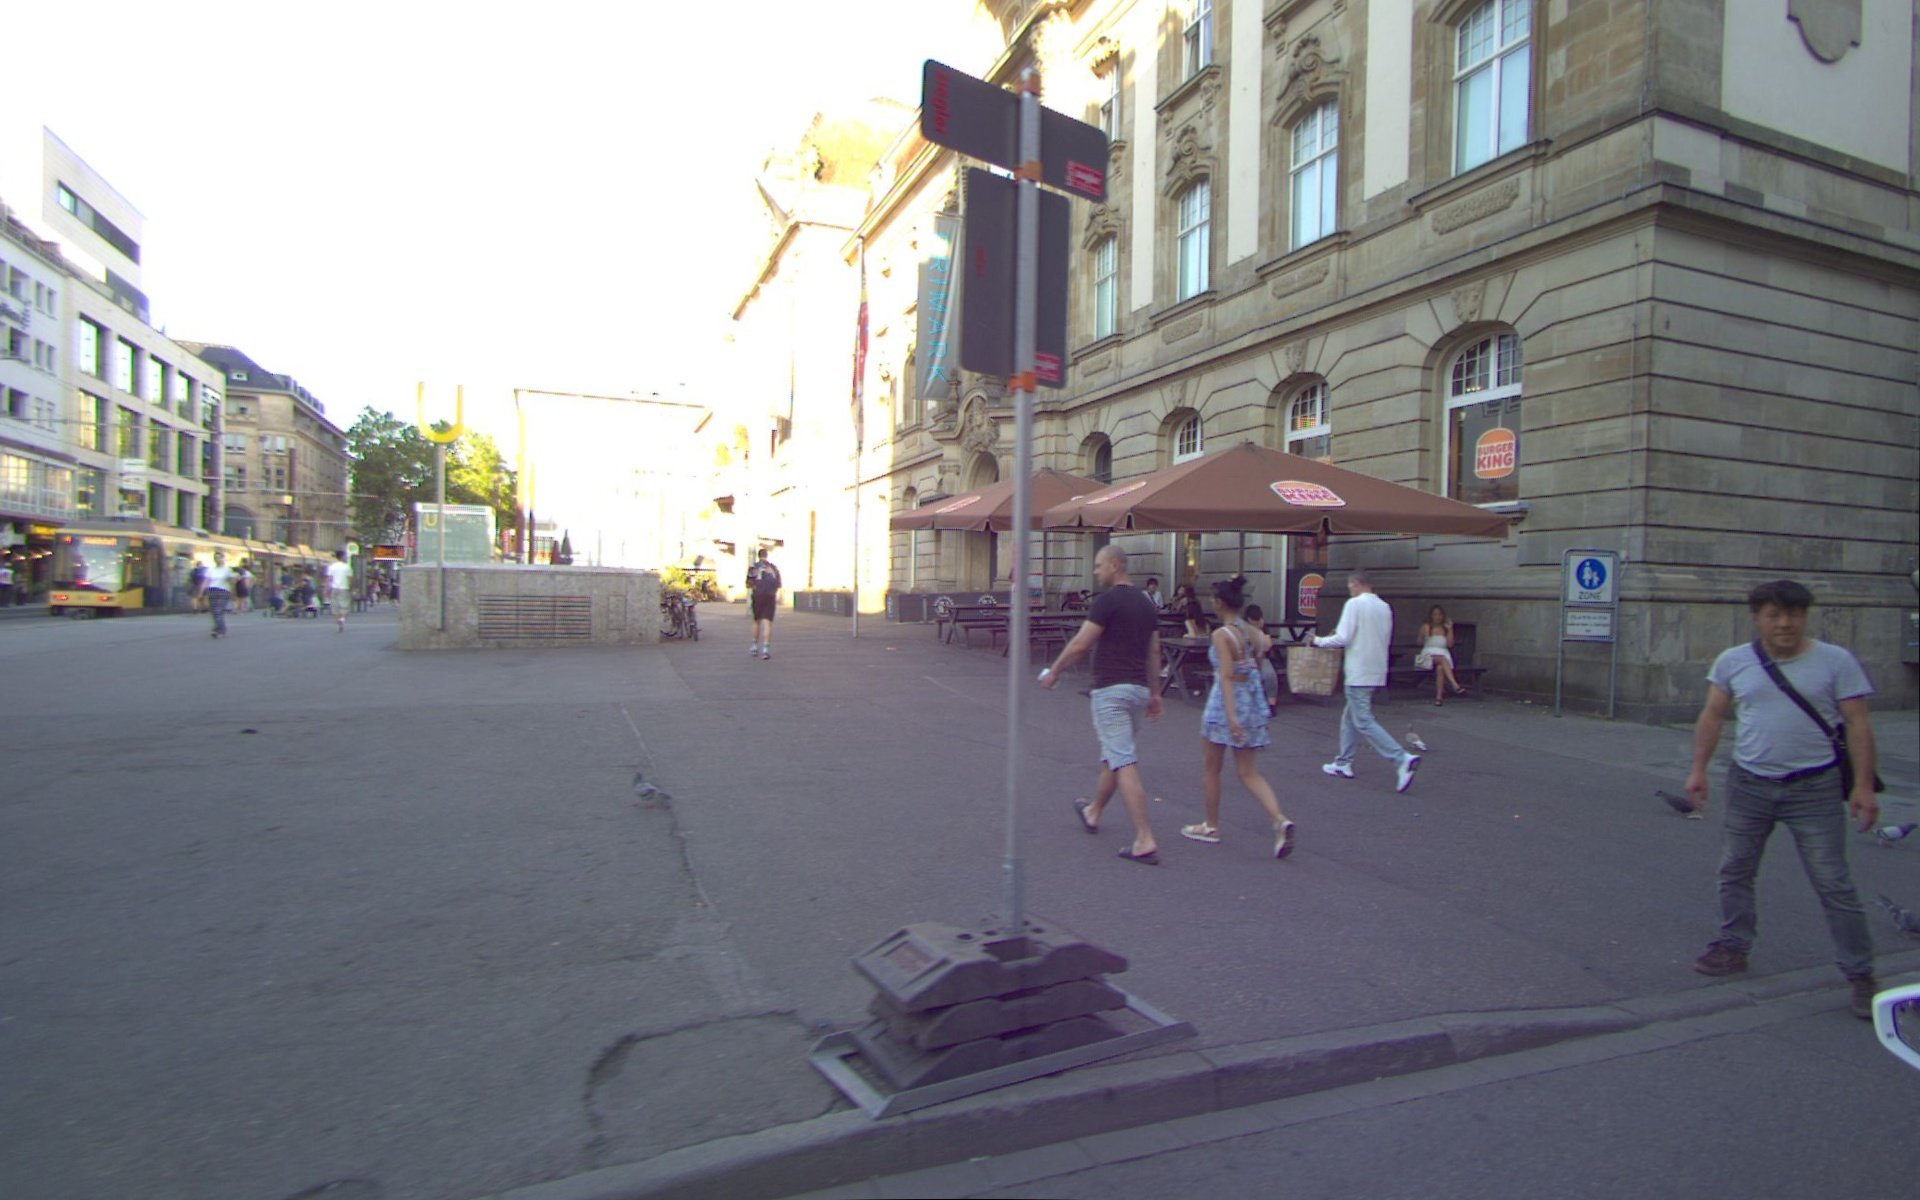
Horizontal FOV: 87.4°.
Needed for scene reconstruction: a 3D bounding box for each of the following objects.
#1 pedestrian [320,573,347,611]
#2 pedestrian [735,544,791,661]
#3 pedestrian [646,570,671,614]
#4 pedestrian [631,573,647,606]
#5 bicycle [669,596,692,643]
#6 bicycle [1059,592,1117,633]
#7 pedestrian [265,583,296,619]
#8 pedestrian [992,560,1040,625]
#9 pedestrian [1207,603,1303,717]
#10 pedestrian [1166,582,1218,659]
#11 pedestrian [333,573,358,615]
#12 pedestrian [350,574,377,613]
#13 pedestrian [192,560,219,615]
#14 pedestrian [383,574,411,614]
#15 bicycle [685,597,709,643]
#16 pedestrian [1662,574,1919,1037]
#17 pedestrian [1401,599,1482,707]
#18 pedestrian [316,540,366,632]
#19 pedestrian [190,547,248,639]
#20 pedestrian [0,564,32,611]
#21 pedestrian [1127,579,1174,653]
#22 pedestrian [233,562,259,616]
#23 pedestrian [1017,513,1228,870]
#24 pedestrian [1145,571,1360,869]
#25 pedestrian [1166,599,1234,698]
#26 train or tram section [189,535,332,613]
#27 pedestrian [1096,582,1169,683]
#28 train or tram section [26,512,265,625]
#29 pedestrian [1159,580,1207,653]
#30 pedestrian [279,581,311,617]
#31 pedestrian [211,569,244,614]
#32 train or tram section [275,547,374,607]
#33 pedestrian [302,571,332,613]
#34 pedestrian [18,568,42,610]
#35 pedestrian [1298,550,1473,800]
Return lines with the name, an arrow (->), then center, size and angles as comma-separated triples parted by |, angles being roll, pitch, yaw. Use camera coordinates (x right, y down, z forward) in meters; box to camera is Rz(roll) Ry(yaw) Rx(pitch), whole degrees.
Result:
pedestrian -> -28.715, -0.360, 46.036 | 0.780, 1.683, 0.768 | 1, 1, -10
pedestrian -> -3.213, 0.035, 16.356 | 0.798, 1.848, 0.802 | 1, 1, -18
pedestrian -> -12.087, -0.333, 40.247 | 0.643, 1.728, 0.725 | 2, 2, 33
pedestrian -> -18.137, -0.600, 56.773 | 0.799, 1.848, 0.801 | 1, 2, -23
bicycle -> -5.463, 0.373, 19.589 | 0.312, 0.879, 0.994 | 0, 1, -23
bicycle -> 2.924, 0.284, 22.938 | 1.305, 0.906, 0.407 | 0, 2, -27
pedestrian -> -23.797, 0.022, 35.189 | 0.784, 1.238, 0.764 | 1, 1, -26
pedestrian -> 1.404, -0.195, 25.218 | 0.844, 1.587, 0.839 | 0, 3, -44
pedestrian -> 3.519, 0.706, 12.045 | 0.767, 1.259, 0.827 | 2, 2, -8
pedestrian -> 4.126, 0.360, 17.869 | 0.601, 1.326, 0.604 | 1, 3, -26
pedestrian -> -25.006, -0.257, 40.887 | 0.787, 1.683, 0.761 | 1, 1, -37
pedestrian -> -26.282, -0.295, 44.243 | 0.780, 1.683, 0.768 | 1, 1, -10
pedestrian -> -25.813, -0.420, 34.376 | 0.729, 1.848, 0.811 | 1, 1, -36
pedestrian -> -24.101, -0.240, 43.015 | 0.780, 1.683, 0.768 | 1, 1, -10
bicycle -> -5.166, 0.383, 19.715 | 0.312, 0.879, 0.994 | 0, 1, -23
pedestrian -> 3.496, 0.752, 4.189 | 0.865, 1.668, 0.723 | 2, -1, -42
pedestrian -> 6.295, 0.676, 13.166 | 0.651, 1.327, 0.773 | 1, 4, 3
pedestrian -> -14.146, -0.308, 22.986 | 0.761, 2.040, 0.913 | 2, 0, -21
pedestrian -> -15.322, -0.140, 20.798 | 0.765, 1.848, 0.934 | -1, 1, -25
pedestrian -> -35.597, -0.455, 37.802 | 0.764, 1.748, 0.706 | 1, 0, -22
pedestrian -> 3.561, 0.295, 18.787 | 0.586, 1.326, 0.578 | 1, 3, -26
pedestrian -> -25.036, -0.383, 35.222 | 0.729, 1.848, 0.811 | 1, 1, -36
pedestrian -> 0.912, 0.488, 5.795 | 0.795, 1.864, 0.869 | 3, 0, -22
pedestrian -> 1.707, 0.655, 5.946 | 0.795, 1.602, 0.869 | 3, 0, -22
pedestrian -> 3.209, 0.639, 13.467 | 0.606, 1.243, 0.699 | 2, 2, -8
train or tram section -> -34.829, -1.216, 50.745 | 2.769, 3.364, 14.429 | 1, 0, -22
pedestrian -> 2.504, 0.464, 14.633 | 0.792, 1.401, 0.651 | 2, 3, -12
train or tram section -> -29.427, -1.036, 37.367 | 2.769, 3.364, 14.429 | 1, 0, -22
pedestrian -> 4.218, 0.311, 18.996 | 0.586, 1.326, 0.578 | 2, 3, -24
pedestrian -> -22.949, -0.033, 34.673 | 0.784, 1.238, 0.764 | 1, 1, -26
pedestrian -> -26.537, -0.315, 36.413 | 0.784, 1.600, 0.765 | 1, 1, -24
train or tram section -> -40.264, -1.418, 64.182 | 2.769, 3.364, 14.429 | 1, 0, -22
pedestrian -> -26.727, -0.330, 41.778 | 0.780, 1.683, 0.768 | 1, 1, -10
pedestrian -> -39.208, -0.452, 42.353 | 0.595, 1.750, 0.603 | 1, 0, -29
pedestrian -> 3.402, 0.554, 8.086 | 0.856, 1.864, 0.868 | 0, 3, -28
